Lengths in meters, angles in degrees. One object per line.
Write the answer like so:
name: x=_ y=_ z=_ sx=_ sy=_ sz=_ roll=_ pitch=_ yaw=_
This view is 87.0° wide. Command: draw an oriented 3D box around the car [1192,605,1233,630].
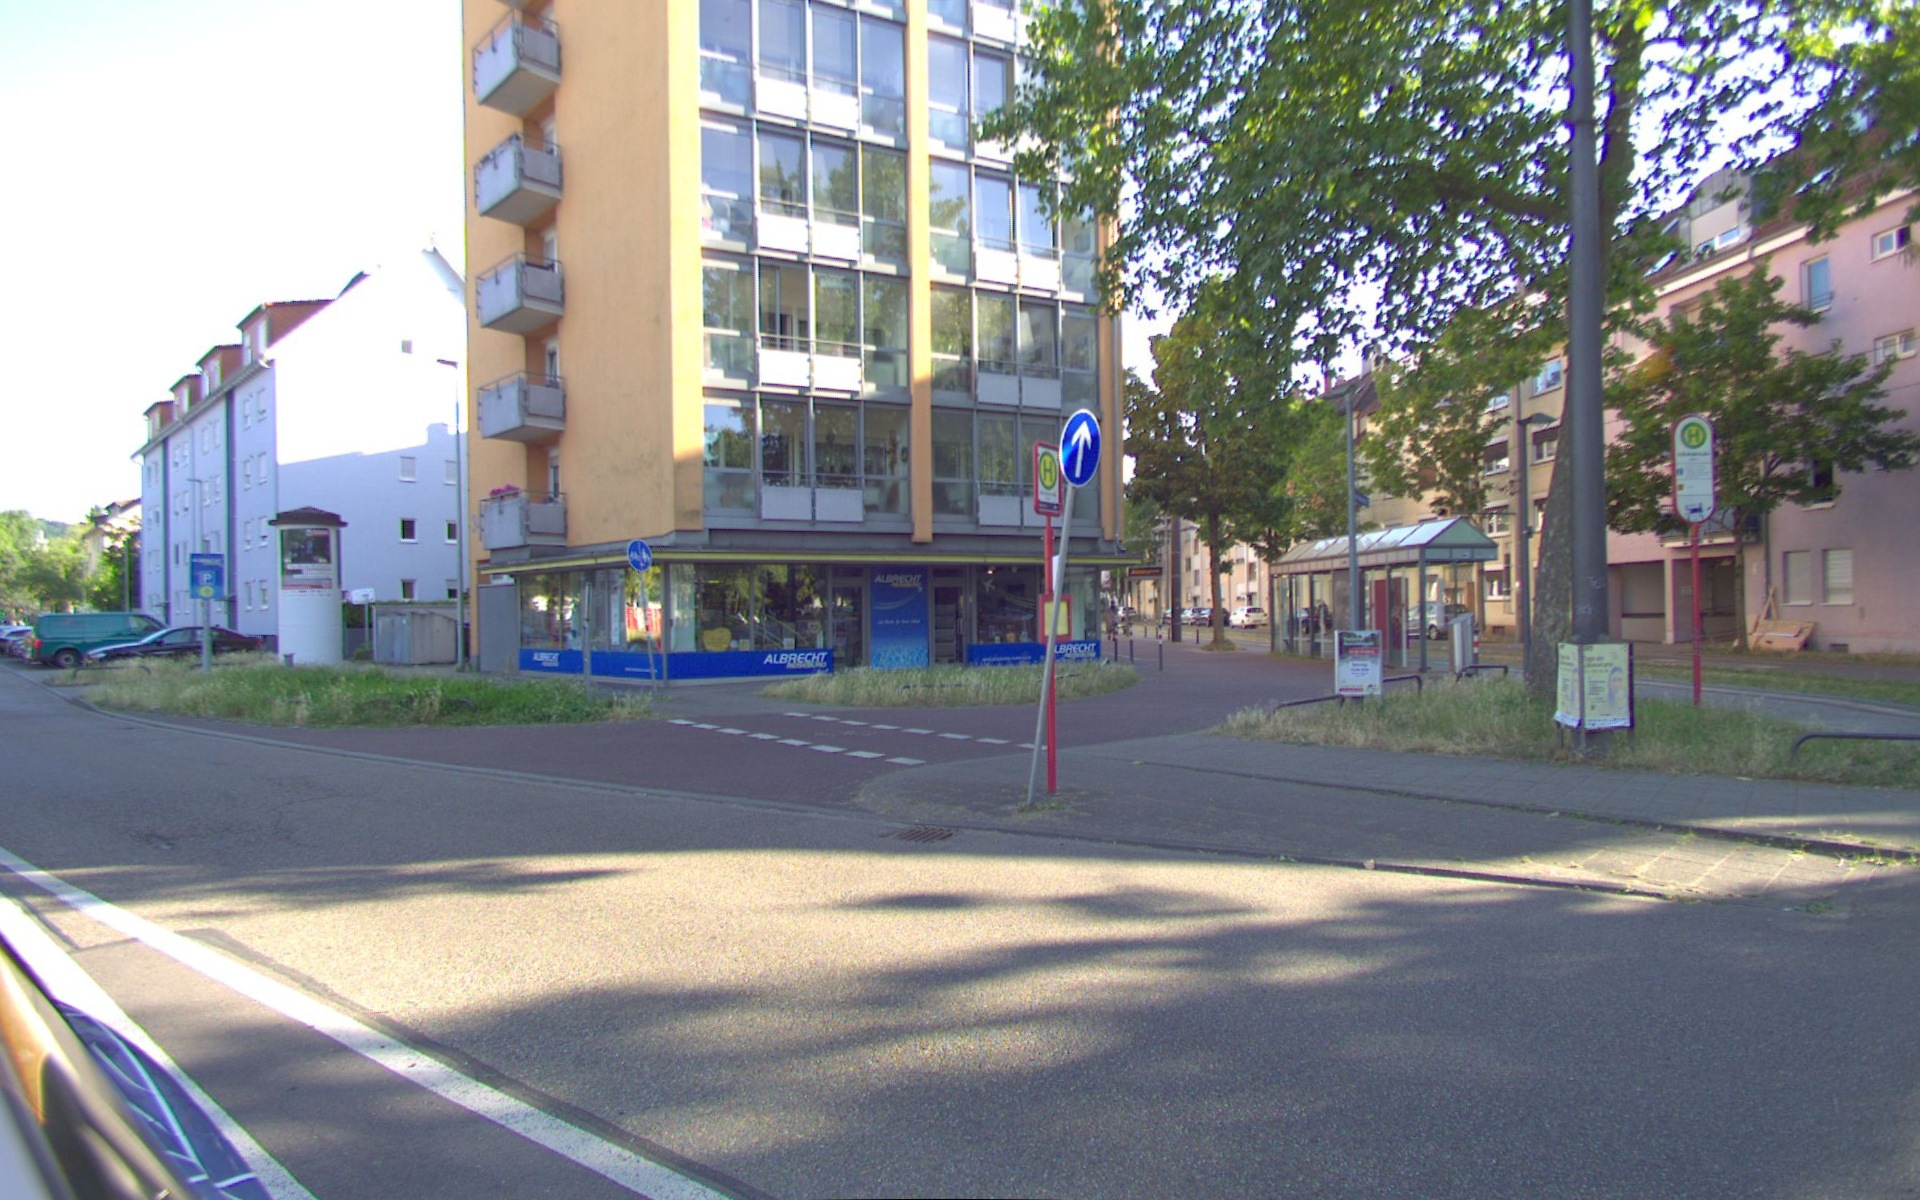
car: x=18.708 y=1.279 z=75.165 sx=1.808 sy=1.719 sz=4.059 roll=-1 pitch=0 yaw=-3

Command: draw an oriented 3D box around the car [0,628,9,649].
car: x=-74.755 y=2.999 z=76.977 sx=3.490 sy=1.585 sz=1.867 roll=-1 pitch=0 yaw=-44

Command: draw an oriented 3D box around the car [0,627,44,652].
car: x=-63.492 y=2.614 z=67.008 sx=4.199 sy=1.585 sz=1.867 roll=-1 pitch=0 yaw=-44

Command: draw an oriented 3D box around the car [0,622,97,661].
car: x=-46.115 y=2.047 z=50.879 sx=4.061 sy=1.785 sz=1.758 roll=-1 pitch=0 yaw=-44

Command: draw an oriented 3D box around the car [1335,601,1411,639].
car: x=19.908 y=0.928 z=48.994 sx=1.911 sy=1.719 sz=3.827 roll=-1 pitch=0 yaw=-3

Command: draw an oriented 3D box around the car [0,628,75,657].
car: x=-55.657 y=2.512 z=60.395 sx=4.199 sy=1.585 sz=1.867 roll=-1 pitch=0 yaw=-44

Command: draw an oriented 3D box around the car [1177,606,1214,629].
car: x=18.647 y=1.364 z=80.354 sx=1.771 sy=1.719 sz=4.170 roll=-1 pitch=0 yaw=-3

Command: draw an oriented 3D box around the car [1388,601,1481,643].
car: x=20.748 y=0.917 z=44.440 sx=1.911 sy=1.719 sz=4.115 roll=-1 pitch=0 yaw=-3

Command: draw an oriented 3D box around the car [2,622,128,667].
car: x=-38.825 y=1.874 z=43.942 sx=4.016 sy=1.765 sz=1.900 roll=-1 pitch=0 yaw=-44

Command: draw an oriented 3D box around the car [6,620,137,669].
car: x=-36.856 y=1.816 z=42.024 sx=4.003 sy=1.829 sz=1.938 roll=-1 pitch=0 yaw=-44

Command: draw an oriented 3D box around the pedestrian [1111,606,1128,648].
pedestrian: x=6.782 y=1.130 z=43.052 sx=0.622 sy=1.763 sz=0.689 roll=-1 pitch=0 yaw=6

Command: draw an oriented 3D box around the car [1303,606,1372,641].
car: x=19.919 y=1.213 z=53.607 sx=1.911 sy=1.719 sz=4.115 roll=-1 pitch=0 yaw=-3

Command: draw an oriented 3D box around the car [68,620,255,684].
car: x=-24.271 y=1.517 z=30.876 sx=4.361 sy=1.674 sz=2.003 roll=-1 pitch=0 yaw=-41

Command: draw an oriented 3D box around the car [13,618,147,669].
car: x=-35.119 y=1.683 z=40.445 sx=3.941 sy=1.829 sz=2.001 roll=-1 pitch=0 yaw=-44

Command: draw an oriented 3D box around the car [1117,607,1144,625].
car: x=17.740 y=1.653 z=105.554 sx=1.911 sy=1.719 sz=4.372 roll=-1 pitch=0 yaw=-3

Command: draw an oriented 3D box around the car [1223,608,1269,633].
car: x=19.175 y=1.358 z=68.060 sx=1.741 sy=1.588 sz=4.049 roll=-1 pitch=0 yaw=-3

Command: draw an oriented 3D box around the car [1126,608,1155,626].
car: x=17.790 y=1.652 z=99.880 sx=1.911 sy=1.719 sz=4.003 roll=-1 pitch=0 yaw=-3

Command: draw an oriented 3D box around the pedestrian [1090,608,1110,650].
pedestrian: x=5.967 y=1.228 z=43.309 sx=0.803 sy=1.763 sz=0.538 roll=-1 pitch=0 yaw=6

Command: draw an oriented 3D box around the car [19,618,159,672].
car: x=-33.119 y=1.657 z=38.543 sx=3.941 sy=1.829 sz=2.001 roll=-1 pitch=0 yaw=-44

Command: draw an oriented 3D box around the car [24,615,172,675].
car: x=-31.214 y=1.565 z=36.700 sx=2.001 sy=1.962 sz=3.942 roll=-1 pitch=0 yaw=44

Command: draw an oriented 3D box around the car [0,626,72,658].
car: x=-55.790 y=2.483 z=60.448 sx=4.016 sy=1.765 sz=1.900 roll=-1 pitch=0 yaw=-44

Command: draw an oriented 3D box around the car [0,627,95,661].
car: x=-48.118 y=2.284 z=52.970 sx=4.199 sy=1.585 sz=1.867 roll=-1 pitch=0 yaw=-44

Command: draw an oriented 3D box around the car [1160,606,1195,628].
car: x=18.436 y=1.407 z=85.808 sx=1.830 sy=1.719 sz=4.170 roll=-1 pitch=0 yaw=-3
